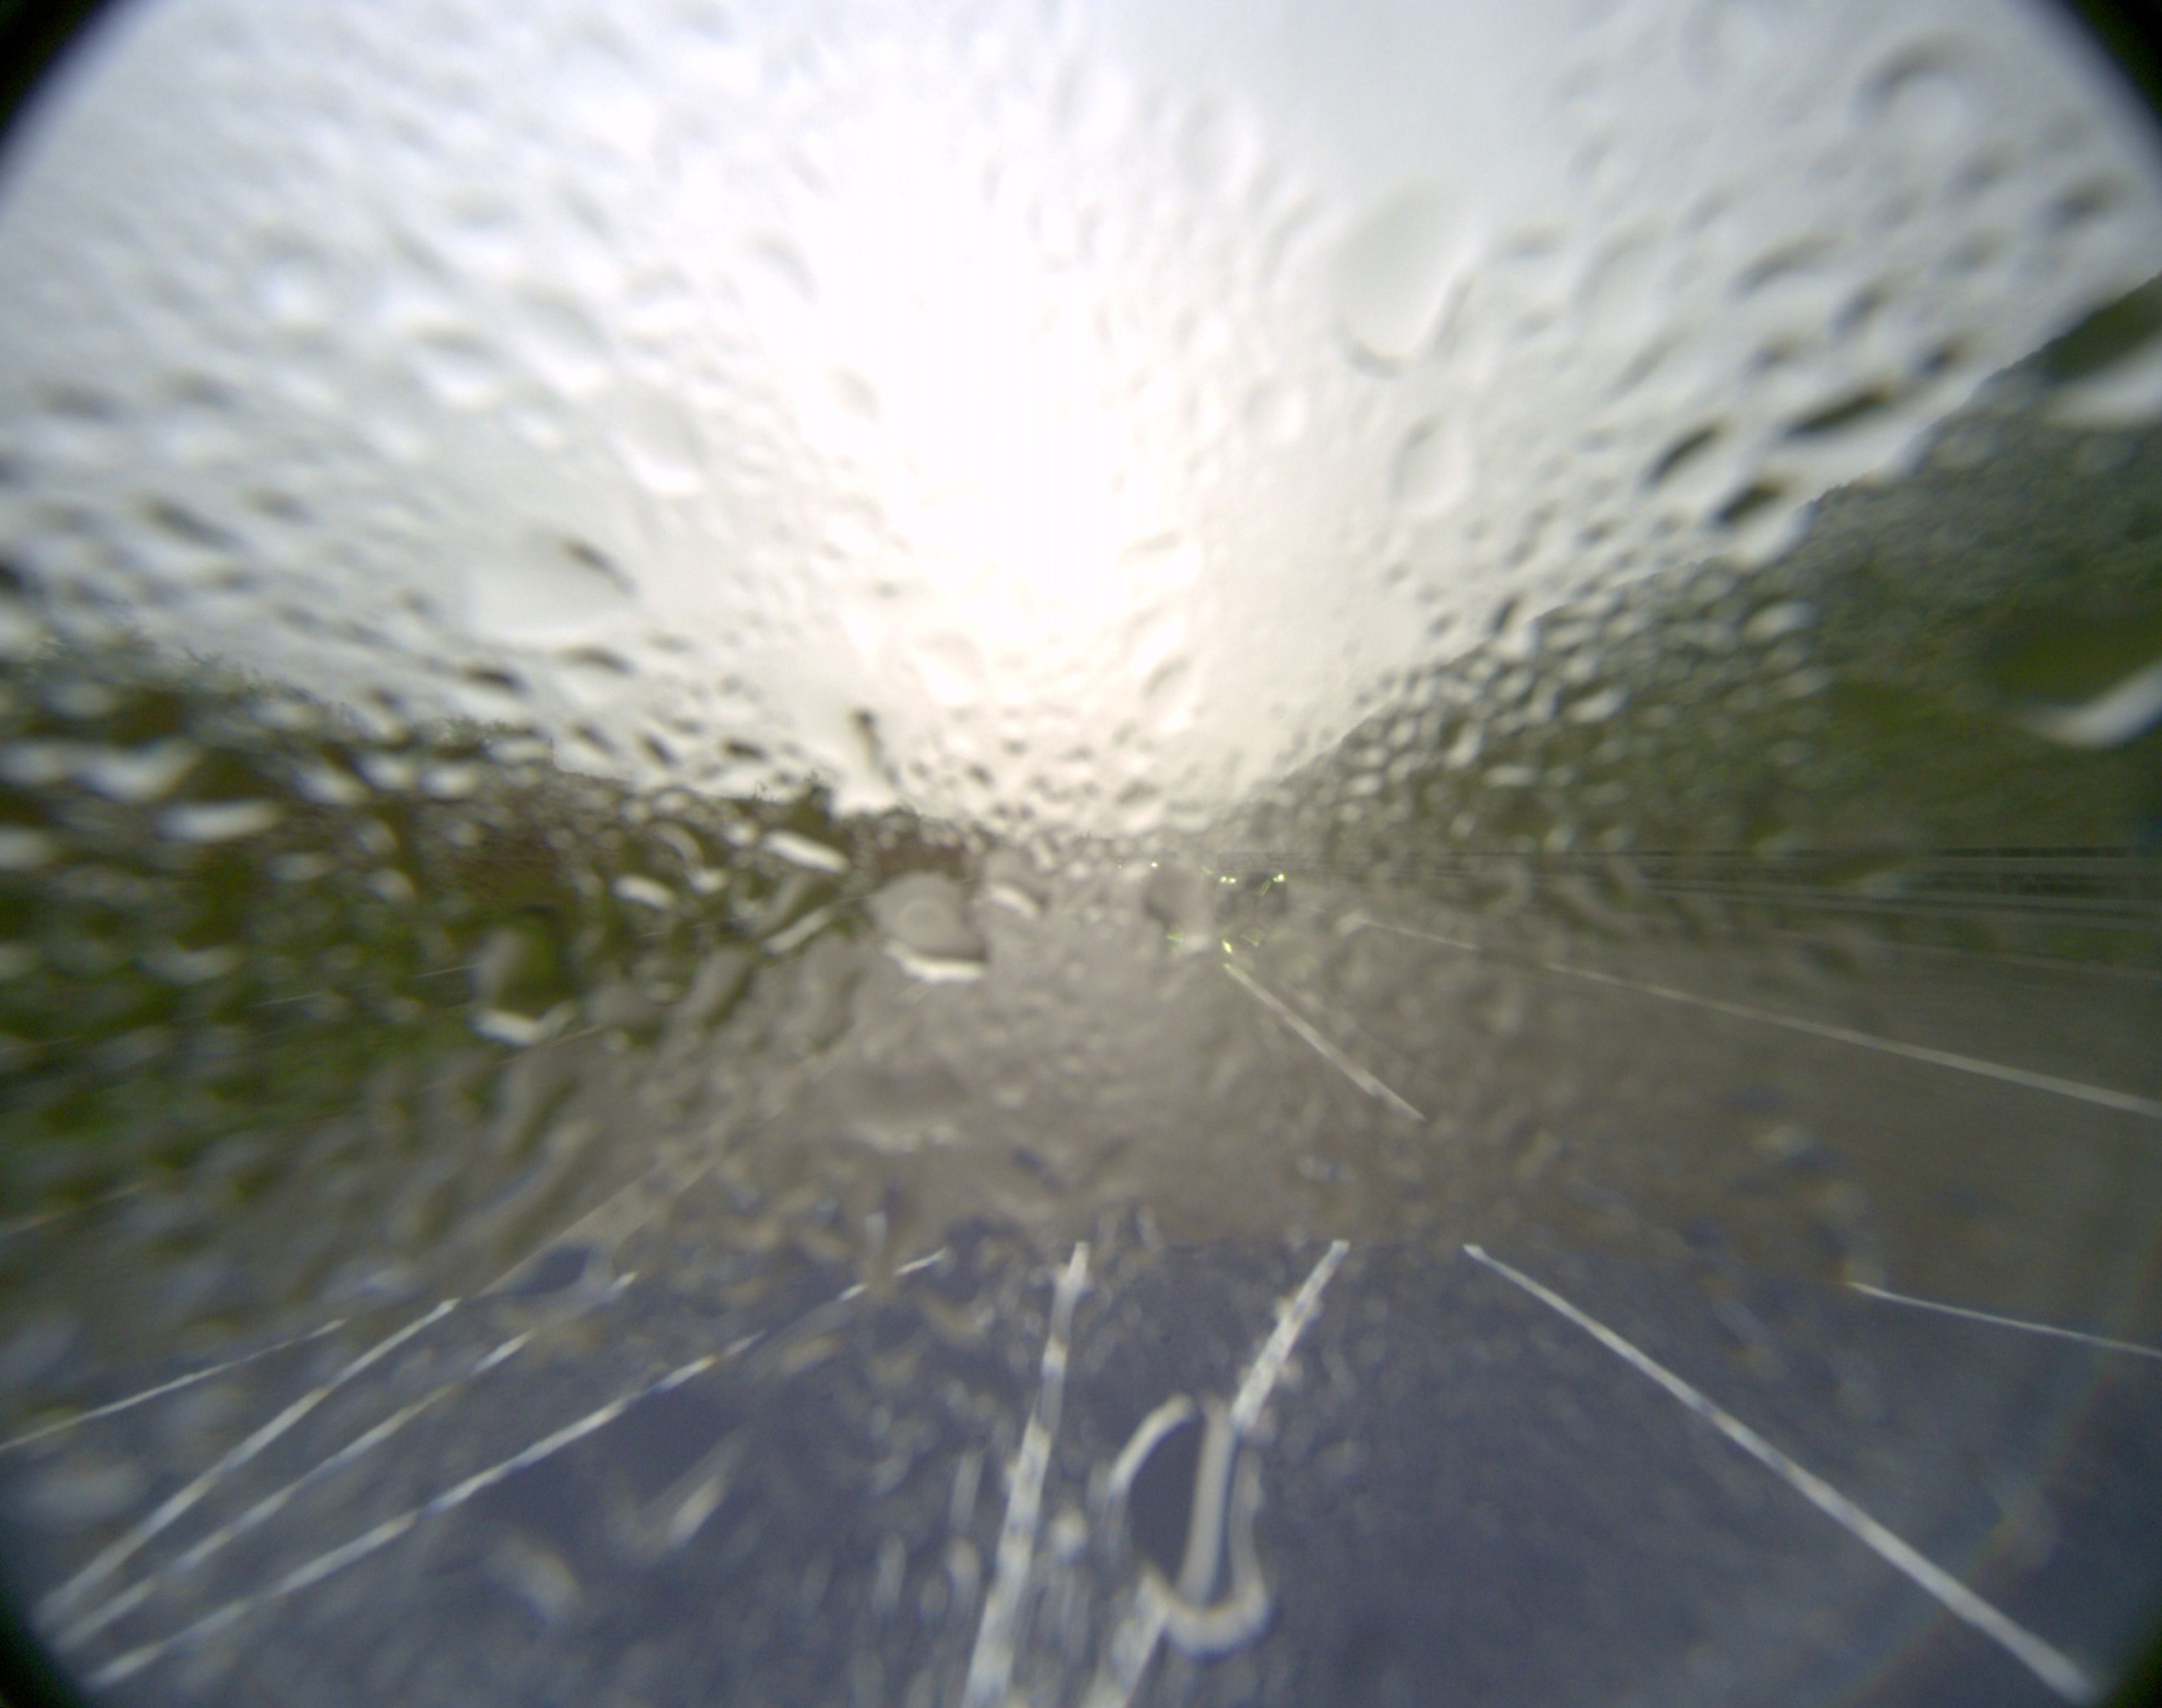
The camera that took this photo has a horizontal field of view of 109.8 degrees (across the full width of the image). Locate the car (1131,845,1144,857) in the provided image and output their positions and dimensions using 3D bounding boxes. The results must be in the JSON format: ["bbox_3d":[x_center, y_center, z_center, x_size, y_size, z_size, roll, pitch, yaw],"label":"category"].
[{"bbox_3d":[10.258,-0.572,137.650,1.998,2.001,4.001,-2,-1,2],"label":"car"}]

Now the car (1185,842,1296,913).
[{"bbox_3d":[4.397,0.579,21.811,1.999,1.673,4.908,-4,1,-1],"label":"car"}]

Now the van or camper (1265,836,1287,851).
[{"bbox_3d":[33.892,-1.804,132.055,2.349,2.549,7.207,-3,0,5],"label":"van or camper"}]

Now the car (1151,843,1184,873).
[{"bbox_3d":[5.408,0.215,47.832,1.814,1.692,3.749,-3,1,3],"label":"car"}]

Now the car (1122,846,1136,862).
[{"bbox_3d":[6.882,-0.019,108.327,1.835,2.002,3.939,-4,1,5],"label":"car"}]

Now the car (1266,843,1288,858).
[{"bbox_3d":[25.863,-0.419,100.138,1.998,1.849,4.001,-2,0,3],"label":"car"}]
